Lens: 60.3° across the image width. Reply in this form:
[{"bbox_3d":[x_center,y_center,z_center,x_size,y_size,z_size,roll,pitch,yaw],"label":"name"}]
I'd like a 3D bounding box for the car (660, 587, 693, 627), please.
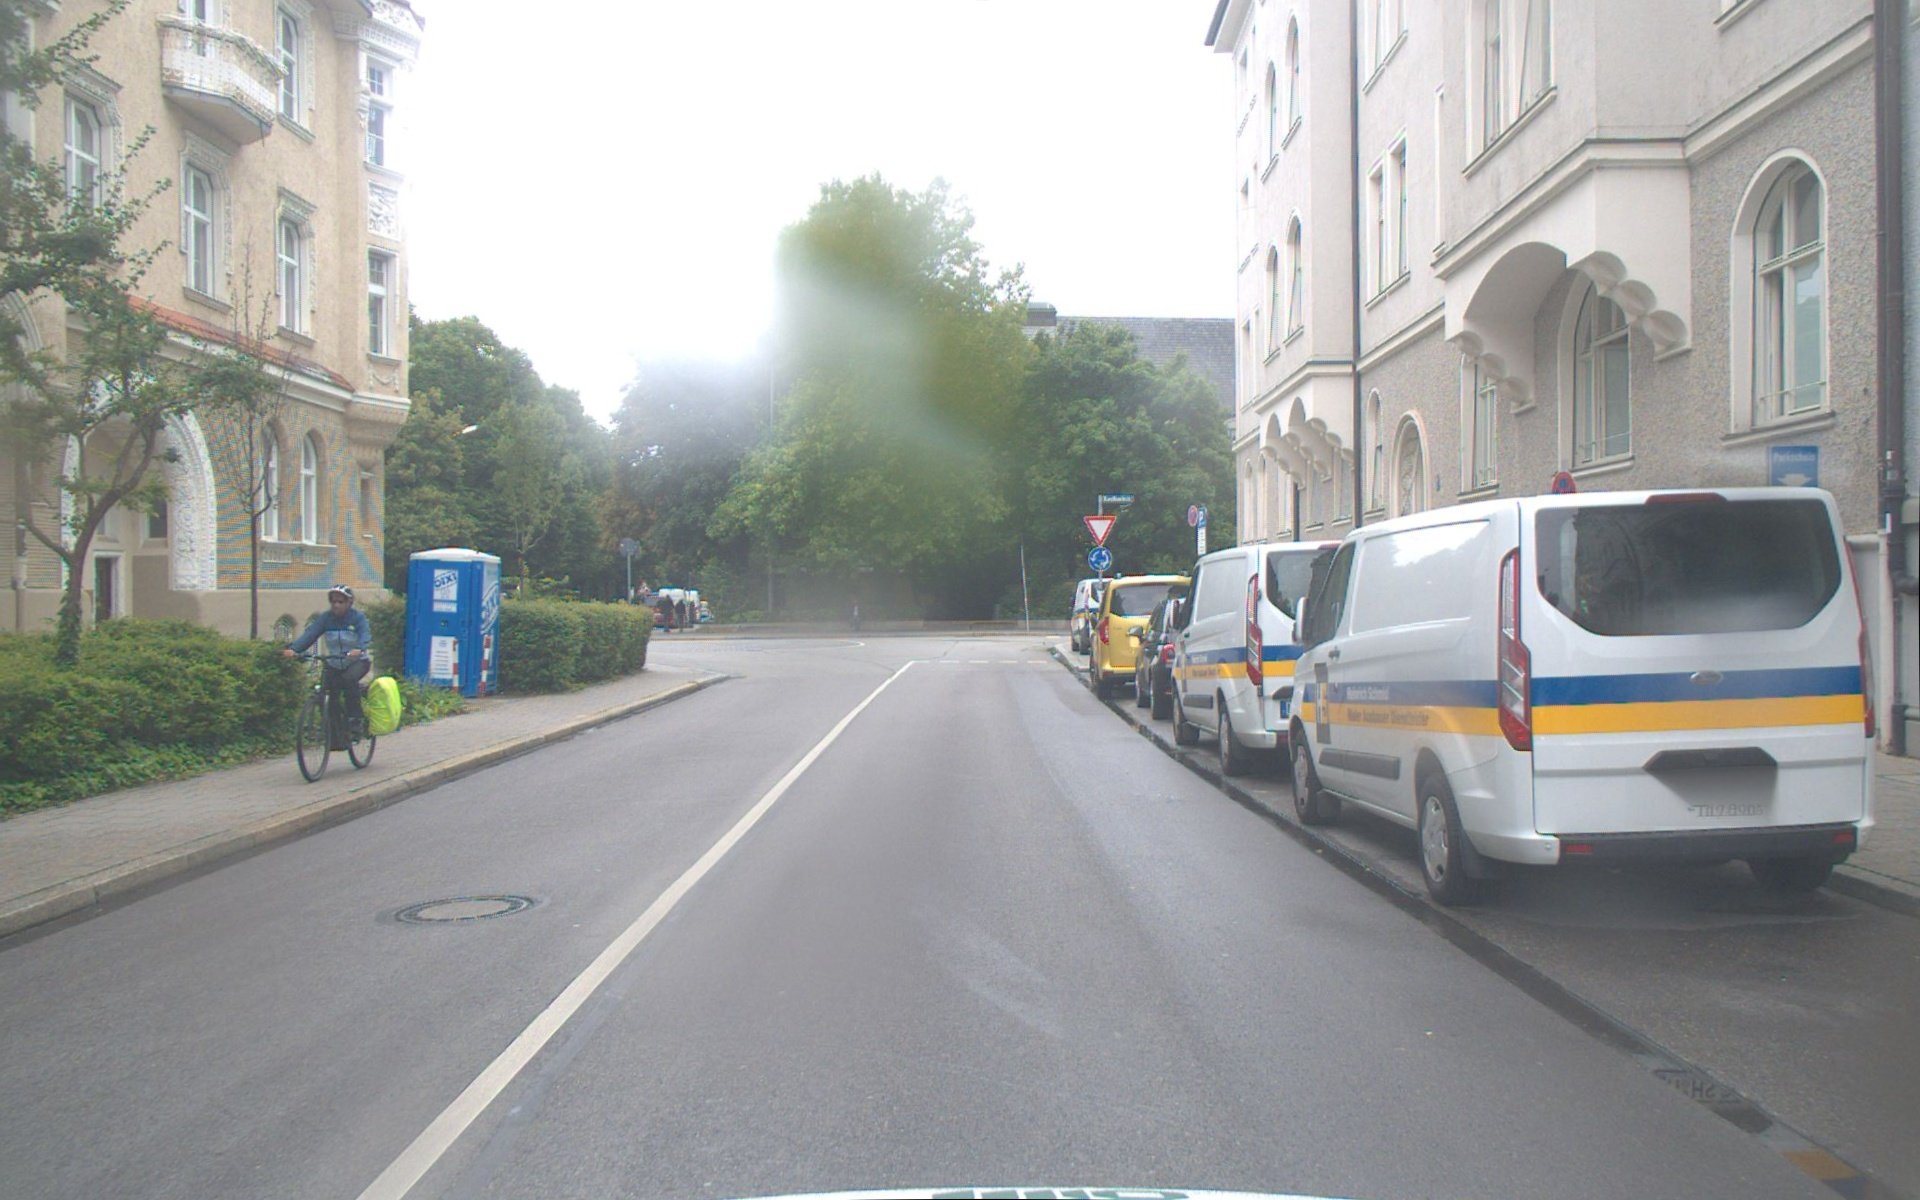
[{"bbox_3d":[-19.398,0.462,113.382,1.955,2.603,5.422,-1,0,-7],"label":"car"}]

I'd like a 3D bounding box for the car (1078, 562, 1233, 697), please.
[{"bbox_3d":[3.058,0.436,26.775,1.952,1.952,4.571,-1,0,0],"label":"car"}]

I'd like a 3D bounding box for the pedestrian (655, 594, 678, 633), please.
[{"bbox_3d":[-14.409,0.660,81.155,0.812,1.868,0.941,-1,0,-34],"label":"pedestrian"}]

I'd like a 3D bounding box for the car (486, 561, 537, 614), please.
[{"bbox_3d":[-26.886,-0.705,99.296,2.132,3.055,6.222,-1,0,-8],"label":"car"}]

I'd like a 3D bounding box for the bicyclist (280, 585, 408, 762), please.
[{"bbox_3d":[-5.516,0.637,14.868,0.752,1.519,1.060,1,0,-2],"label":"bicyclist"}]

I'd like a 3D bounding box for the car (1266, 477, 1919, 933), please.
[{"bbox_3d":[3.281,0.452,9.659,1.953,1.952,4.877,-1,0,-1],"label":"car"}]

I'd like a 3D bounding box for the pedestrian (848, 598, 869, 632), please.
[{"bbox_3d":[-4.181,0.615,68.070,0.753,1.380,1.132,-1,0,2],"label":"pedestrian"}]

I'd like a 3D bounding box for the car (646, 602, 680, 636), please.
[{"bbox_3d":[-17.511,1.104,97.639,1.876,1.971,4.958,-1,0,-9],"label":"car"}]

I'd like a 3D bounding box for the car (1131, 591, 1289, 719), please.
[{"bbox_3d":[3.236,0.659,22.022,1.599,1.540,3.886,-1,0,1],"label":"car"}]

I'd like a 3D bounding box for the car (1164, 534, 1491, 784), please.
[{"bbox_3d":[3.226,0.464,15.598,1.953,1.952,4.886,-1,0,0],"label":"car"}]

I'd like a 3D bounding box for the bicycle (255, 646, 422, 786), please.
[{"bbox_3d":[-5.528,1.001,14.848,0.752,1.100,2.049,1,0,-2],"label":"bicycle"}]

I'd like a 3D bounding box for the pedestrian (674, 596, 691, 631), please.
[{"bbox_3d":[-13.585,0.647,81.035,0.626,1.696,0.690,-1,0,-29],"label":"pedestrian"}]

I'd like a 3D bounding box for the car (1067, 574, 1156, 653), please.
[{"bbox_3d":[4.079,0.342,45.287,1.899,1.955,5.374,-2,0,0],"label":"car"}]
